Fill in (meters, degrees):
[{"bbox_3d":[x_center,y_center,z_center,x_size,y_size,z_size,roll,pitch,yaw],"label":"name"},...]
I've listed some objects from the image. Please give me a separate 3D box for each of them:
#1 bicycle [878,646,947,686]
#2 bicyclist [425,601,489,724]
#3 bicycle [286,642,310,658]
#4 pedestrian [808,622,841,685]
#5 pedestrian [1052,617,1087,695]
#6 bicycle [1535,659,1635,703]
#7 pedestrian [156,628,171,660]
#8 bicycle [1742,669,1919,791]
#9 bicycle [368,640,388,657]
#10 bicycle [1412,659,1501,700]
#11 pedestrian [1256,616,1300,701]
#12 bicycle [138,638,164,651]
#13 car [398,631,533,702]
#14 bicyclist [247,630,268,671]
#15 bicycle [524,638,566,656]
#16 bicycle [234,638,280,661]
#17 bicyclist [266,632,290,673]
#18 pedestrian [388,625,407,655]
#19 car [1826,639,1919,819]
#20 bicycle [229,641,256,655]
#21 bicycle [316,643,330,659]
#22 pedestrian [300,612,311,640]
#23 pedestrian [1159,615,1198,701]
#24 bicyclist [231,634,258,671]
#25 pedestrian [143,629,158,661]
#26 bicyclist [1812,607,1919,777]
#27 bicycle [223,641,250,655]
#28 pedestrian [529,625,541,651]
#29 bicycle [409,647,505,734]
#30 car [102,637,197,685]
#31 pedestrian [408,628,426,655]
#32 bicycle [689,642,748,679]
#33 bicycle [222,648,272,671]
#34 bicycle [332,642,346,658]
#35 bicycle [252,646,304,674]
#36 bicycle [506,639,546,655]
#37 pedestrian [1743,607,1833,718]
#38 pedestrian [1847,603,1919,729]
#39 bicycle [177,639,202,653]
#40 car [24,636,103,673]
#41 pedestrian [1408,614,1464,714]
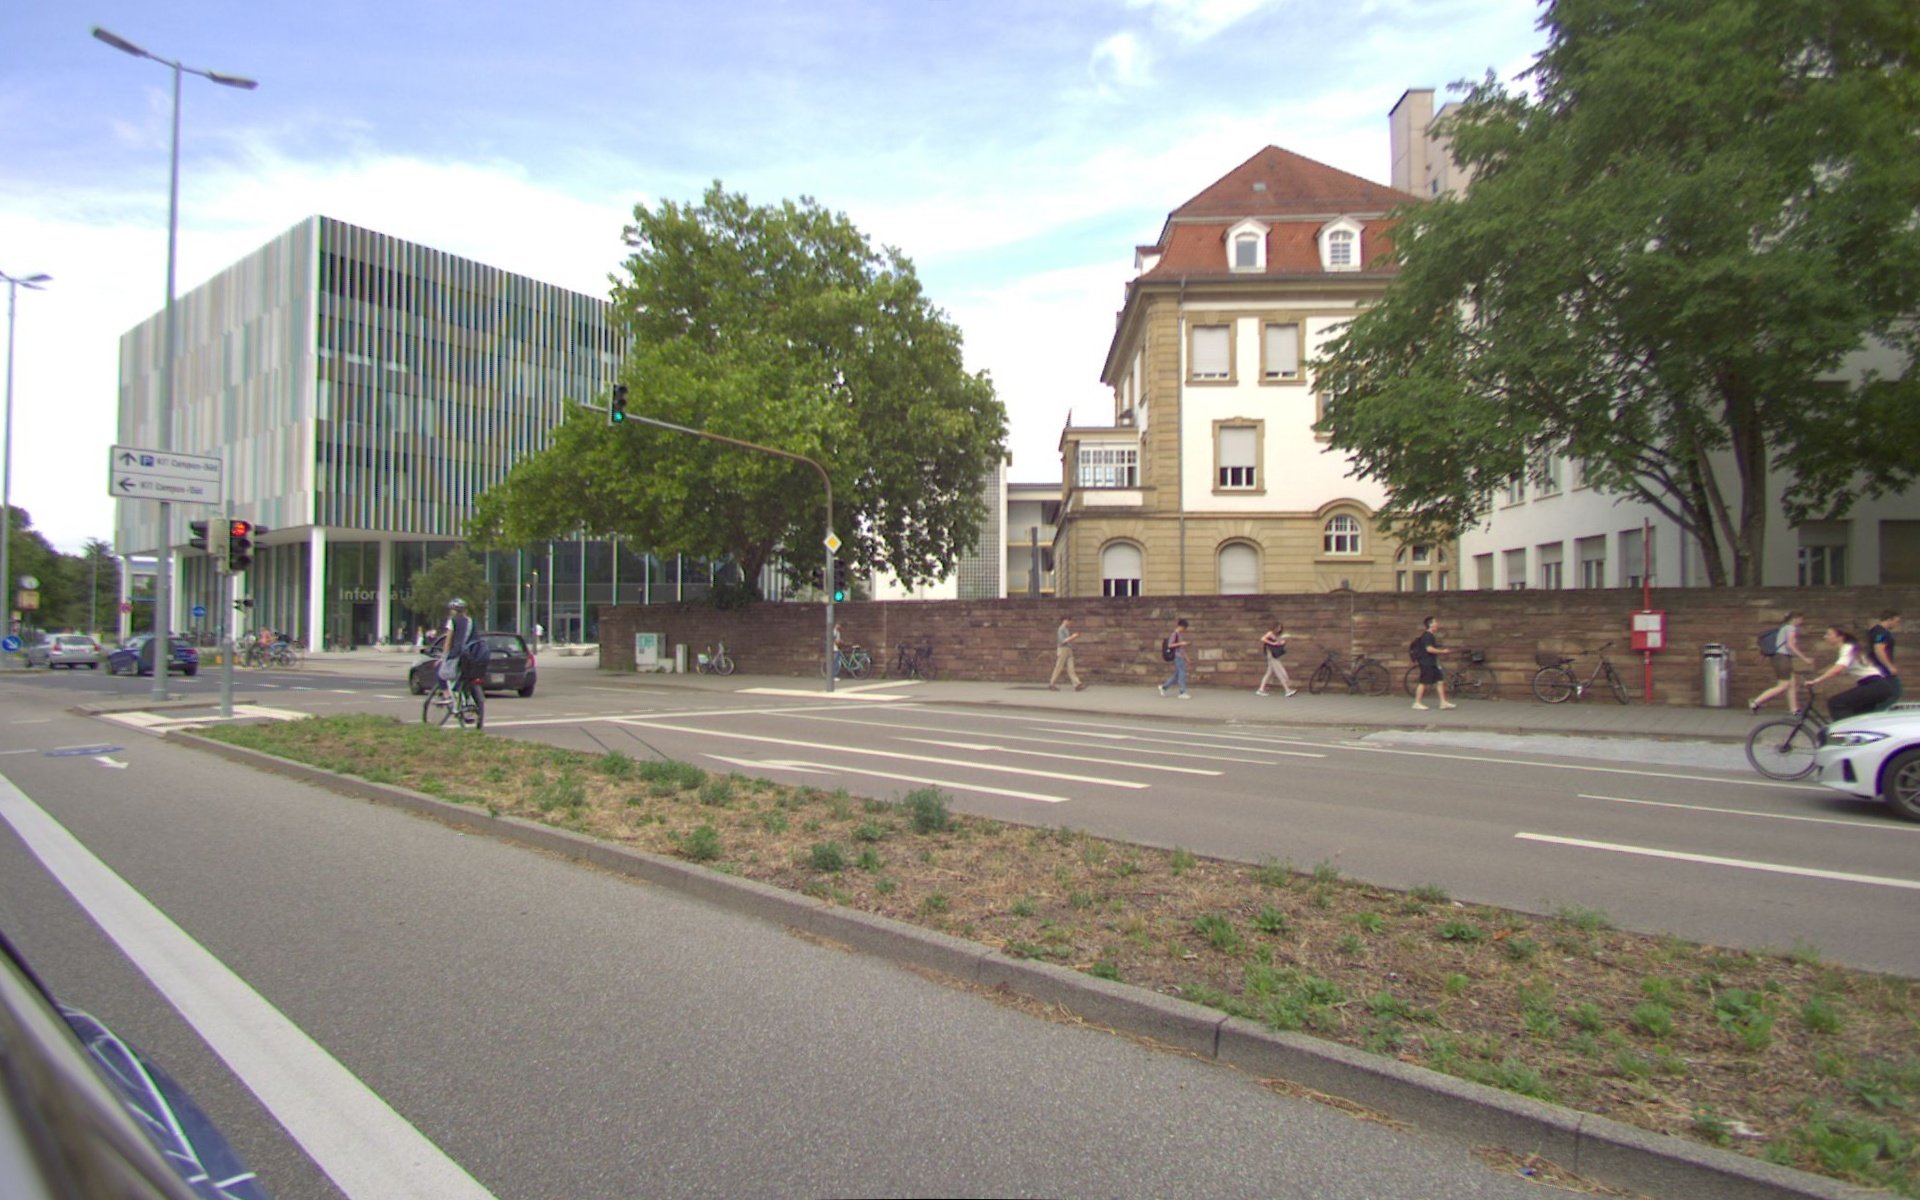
[{"bbox_3d":[-1.351,1.841,28.373,1.976,1.066,0.544,-2,0,35],"label":"bicycle"},{"bbox_3d":[-6.747,0.821,13.573,0.565,1.586,0.699,2,-3,-45],"label":"bicyclist"},{"bbox_3d":[-43.053,3.265,65.833,0.389,0.944,1.608,-1,0,4],"label":"bicycle"},{"bbox_3d":[-3.935,1.544,29.382,0.774,1.796,0.745,1,-1,6],"label":"pedestrian"},{"bbox_3d":[2.595,1.306,23.907,0.775,1.796,0.745,1,-1,8],"label":"pedestrian"},{"bbox_3d":[12.217,1.578,19.828,1.615,0.803,0.437,-3,-1,32],"label":"bicycle"},{"bbox_3d":[-46.919,2.601,59.610,0.623,1.851,0.506,-3,-3,37],"label":"pedestrian"},{"bbox_3d":[9.961,1.400,11.138,0.611,1.226,2.046,2,-3,-44],"label":"bicycle"},{"bbox_3d":[-37.496,3.114,65.181,0.388,1.037,1.546,-1,0,1],"label":"bicycle"},{"bbox_3d":[10.312,1.651,21.038,1.615,0.803,0.437,-3,-1,32],"label":"bicycle"},{"bbox_3d":[6.919,1.264,22.050,0.775,1.796,0.759,1,-1,9],"label":"pedestrian"},{"bbox_3d":[-69.271,3.805,86.706,0.433,1.031,1.685,-2,0,33],"label":"bicycle"},{"bbox_3d":[-11.424,1.480,23.290,3.636,1.500,1.554,-2,-4,43],"label":"car"},{"bbox_3d":[-31.771,2.270,45.779,0.558,1.820,0.597,-1,-1,24],"label":"bicyclist"},{"bbox_3d":[-26.300,2.946,64.206,0.792,1.098,2.662,-1,-2,23],"label":"bicycle"},{"bbox_3d":[-31.781,2.231,45.793,0.568,0.996,1.678,-1,-1,24],"label":"bicycle"},{"bbox_3d":[-30.280,2.337,44.949,0.558,1.820,0.597,-1,-4,21],"label":"bicyclist"},{"bbox_3d":[-33.817,2.399,60.837,0.670,1.753,0.729,0,-2,4],"label":"pedestrian"},{"bbox_3d":[9.872,1.073,8.106,4.414,1.500,1.782,-2,-3,42],"label":"car"},{"bbox_3d":[-51.198,3.424,72.227,0.393,0.944,1.529,-2,0,33],"label":"bicycle"},{"bbox_3d":[-41.072,3.288,65.222,0.387,0.944,1.603,-1,0,-19],"label":"bicycle"},{"bbox_3d":[-48.118,1.895,74.419,0.623,2.059,0.506,-3,-3,36],"label":"pedestrian"},{"bbox_3d":[4.683,1.221,21.734,0.775,1.796,0.758,1,-1,11],"label":"pedestrian"},{"bbox_3d":[-33.152,2.433,46.892,0.719,1.685,0.723,-1,-1,24],"label":"bicyclist"},{"bbox_3d":[-47.296,2.652,59.104,0.771,1.851,0.506,-3,-3,37],"label":"pedestrian"},{"bbox_3d":[10.037,0.988,11.218,0.611,1.796,0.812,2,-3,-44],"label":"bicyclist"},{"bbox_3d":[-51.809,3.435,72.510,0.388,0.944,1.529,-2,0,33],"label":"bicycle"},{"bbox_3d":[-29.826,2.661,71.029,0.627,1.792,0.597,0,-2,-7],"label":"pedestrian"},{"bbox_3d":[-6.734,1.167,13.508,0.566,1.063,1.927,2,-3,-45],"label":"bicycle"},{"bbox_3d":[-28.961,2.117,36.127,4.099,1.523,1.784,0,-1,39],"label":"car"},{"bbox_3d":[-32.810,2.493,61.171,0.670,1.612,0.728,0,-2,7],"label":"pedestrian"},{"bbox_3d":[-7.811,1.924,32.622,2.161,1.134,0.572,-2,0,37],"label":"bicycle"},{"bbox_3d":[-33.096,2.747,47.001,0.724,0.996,1.808,-1,-1,24],"label":"bicycle"},{"bbox_3d":[-40.093,3.242,65.338,0.387,0.944,1.603,-1,0,-19],"label":"bicycle"},{"bbox_3d":[-30.288,2.641,44.968,0.603,1.179,1.881,-1,-2,23],"label":"bicycle"},{"bbox_3d":[-27.822,3.022,64.962,0.669,1.007,2.662,-1,-2,23],"label":"bicycle"},{"bbox_3d":[13.888,1.027,16.998,0.905,1.796,0.758,1,-1,13],"label":"pedestrian"},{"bbox_3d":[13.665,0.947,14.847,0.716,1.796,0.757,1,-1,17],"label":"pedestrian"},{"bbox_3d":[-61.101,3.637,80.254,0.388,1.031,1.565,-2,0,33],"label":"bicycle"},{"bbox_3d":[-38.056,2.265,42.911,4.283,1.500,1.784,-2,-3,39],"label":"car"},{"bbox_3d":[8.794,1.165,18.714,0.776,1.796,0.758,1,-1,12],"label":"pedestrian"}]
